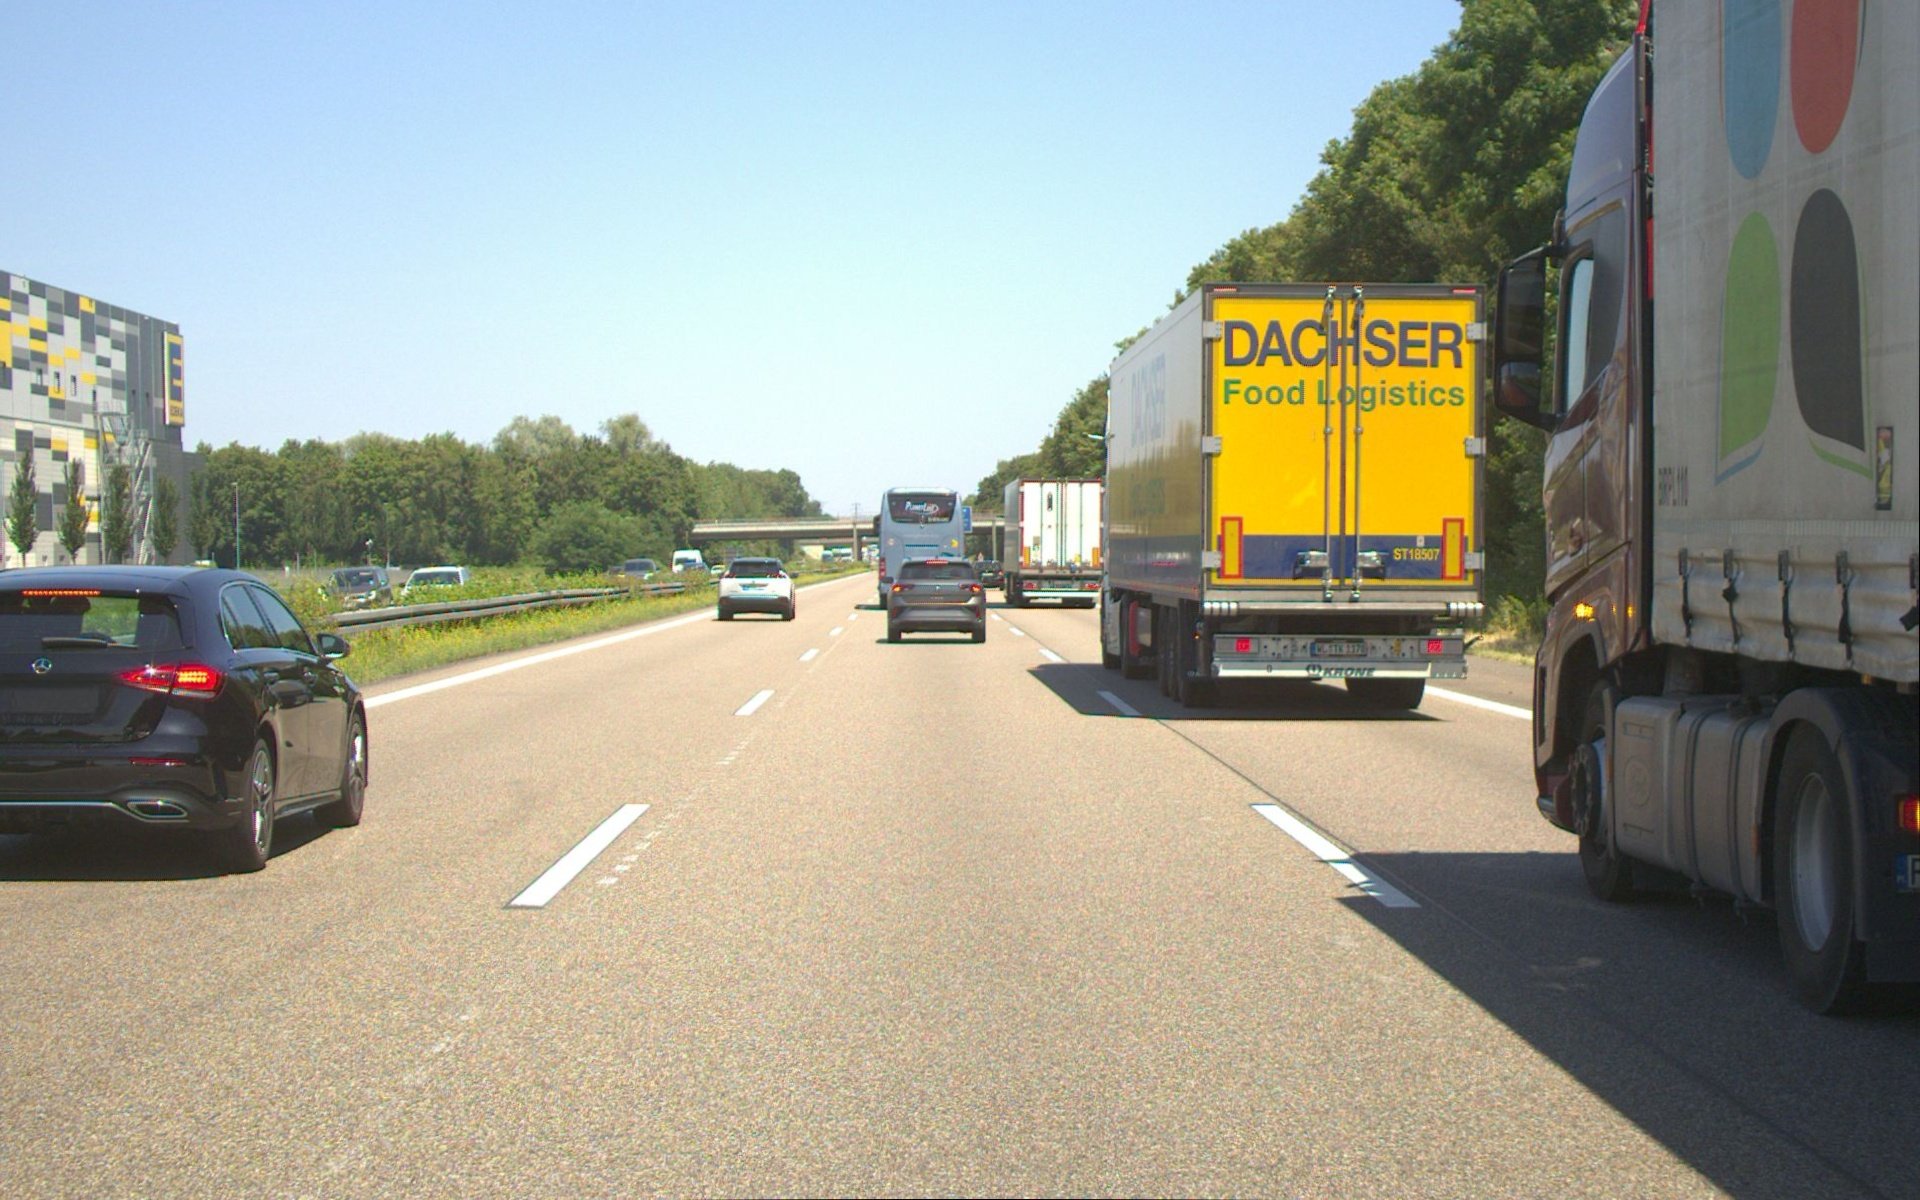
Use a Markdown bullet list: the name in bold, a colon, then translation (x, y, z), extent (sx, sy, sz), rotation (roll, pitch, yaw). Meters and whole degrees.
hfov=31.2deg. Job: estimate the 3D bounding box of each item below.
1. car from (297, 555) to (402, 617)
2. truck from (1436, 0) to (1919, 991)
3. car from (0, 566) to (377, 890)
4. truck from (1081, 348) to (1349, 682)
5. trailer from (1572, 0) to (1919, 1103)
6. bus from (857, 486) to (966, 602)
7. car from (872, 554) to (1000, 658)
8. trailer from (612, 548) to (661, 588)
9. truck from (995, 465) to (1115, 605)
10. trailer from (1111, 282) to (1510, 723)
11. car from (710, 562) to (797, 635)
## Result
- **car**: translation (-18.926, -0.465, 106.801), extent (2.316, 1.809, 5.351), rotation (-1, 1, 0)
- **truck**: translation (4.131, -0.853, 15.155), extent (3.087, 4.425, 6.053), rotation (0, 0, -1)
- **car**: translation (-4.160, 0.552, 17.312), extent (1.792, 1.407, 4.053), rotation (0, 1, -1)
- **truck**: translation (3.188, -1.075, 44.701), extent (2.813, 3.993, 6.645), rotation (-1, 1, -1)
- **trailer**: translation (4.271, -0.809, 7.257), extent (3.106, 4.491, 14.897), rotation (0, 1, -1)
- **bus**: translation (-1.530, -1.687, 104.617), extent (3.062, 3.315, 8.275), rotation (-1, 1, -2)
- **car**: translation (-0.469, 0.068, 62.983), extent (2.216, 1.784, 5.393), rotation (-1, 1, -1)
- **trailer**: translation (-15.170, -1.523, 161.608), extent (1.944, 1.783, 5.238), rotation (-1, 1, -2)
- **truck**: translation (2.909, -2.017, 107.886), extent (3.422, 4.112, 9.564), rotation (-1, 1, 0)
- **trailer**: translation (3.392, -0.973, 36.575), extent (2.834, 3.940, 11.685), rotation (0, 1, -1)
- **car**: translation (-5.015, -0.070, 84.057), extent (1.993, 1.722, 4.131), rotation (0, 1, -2)
